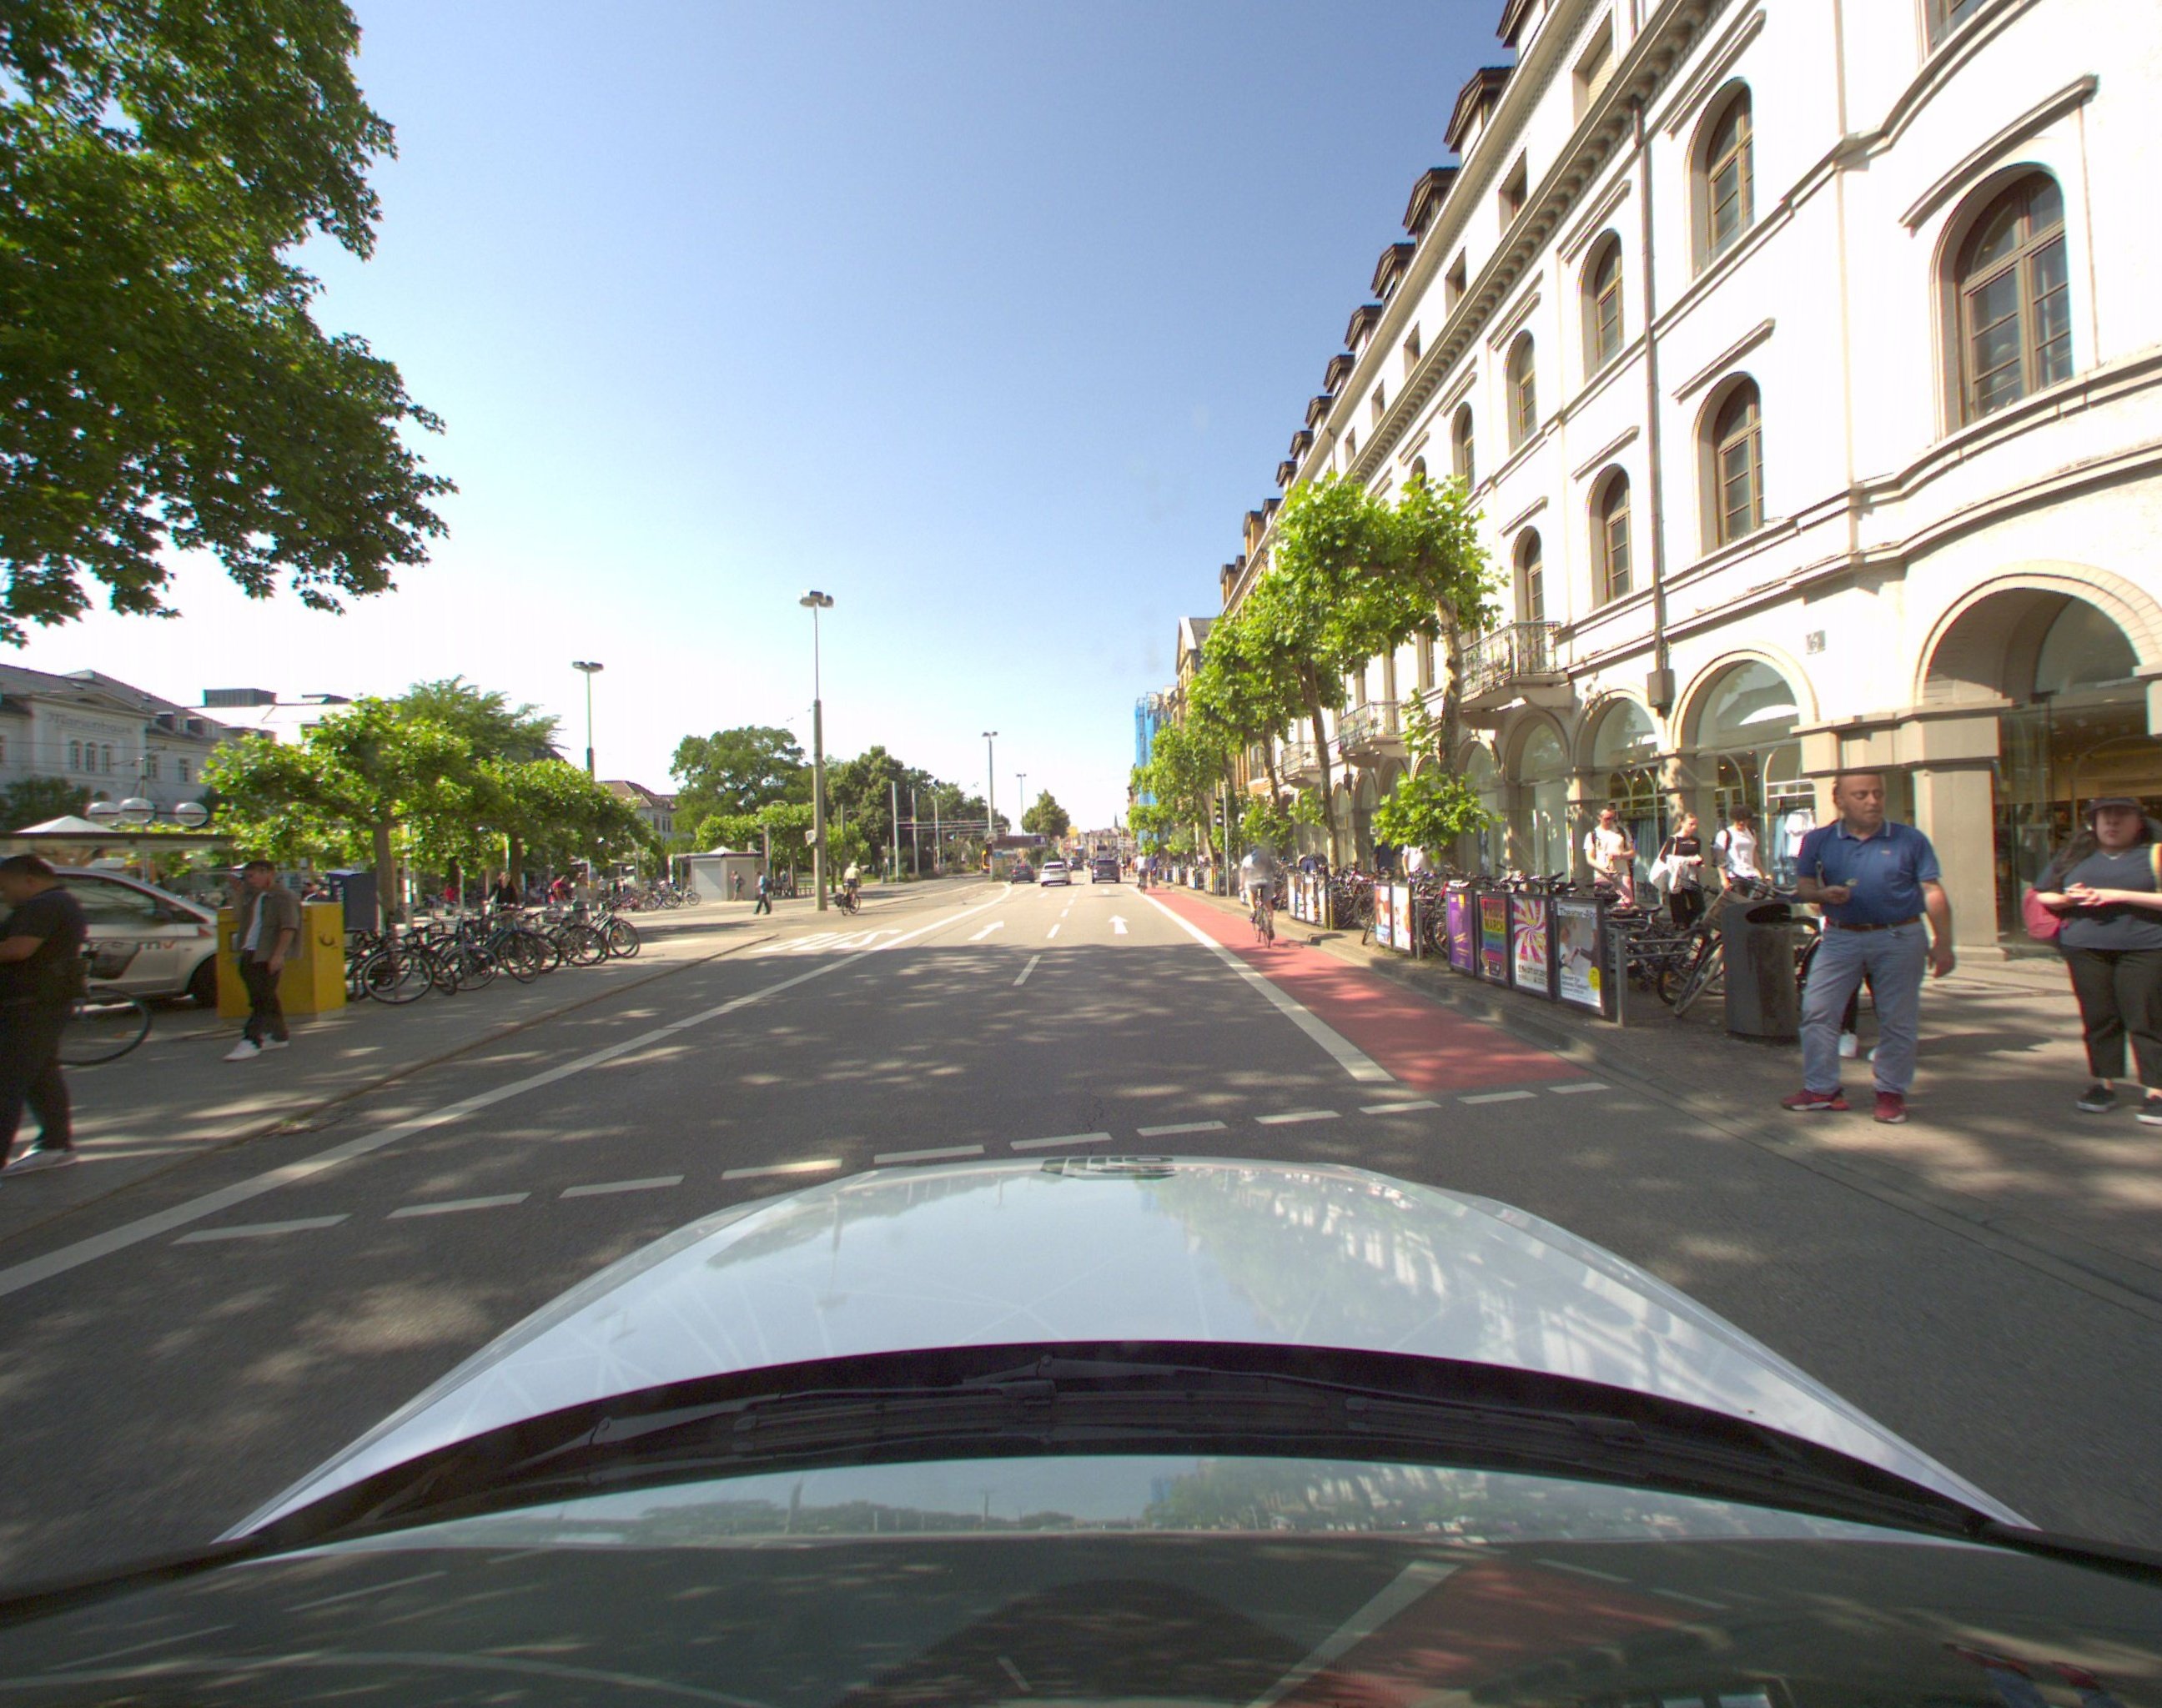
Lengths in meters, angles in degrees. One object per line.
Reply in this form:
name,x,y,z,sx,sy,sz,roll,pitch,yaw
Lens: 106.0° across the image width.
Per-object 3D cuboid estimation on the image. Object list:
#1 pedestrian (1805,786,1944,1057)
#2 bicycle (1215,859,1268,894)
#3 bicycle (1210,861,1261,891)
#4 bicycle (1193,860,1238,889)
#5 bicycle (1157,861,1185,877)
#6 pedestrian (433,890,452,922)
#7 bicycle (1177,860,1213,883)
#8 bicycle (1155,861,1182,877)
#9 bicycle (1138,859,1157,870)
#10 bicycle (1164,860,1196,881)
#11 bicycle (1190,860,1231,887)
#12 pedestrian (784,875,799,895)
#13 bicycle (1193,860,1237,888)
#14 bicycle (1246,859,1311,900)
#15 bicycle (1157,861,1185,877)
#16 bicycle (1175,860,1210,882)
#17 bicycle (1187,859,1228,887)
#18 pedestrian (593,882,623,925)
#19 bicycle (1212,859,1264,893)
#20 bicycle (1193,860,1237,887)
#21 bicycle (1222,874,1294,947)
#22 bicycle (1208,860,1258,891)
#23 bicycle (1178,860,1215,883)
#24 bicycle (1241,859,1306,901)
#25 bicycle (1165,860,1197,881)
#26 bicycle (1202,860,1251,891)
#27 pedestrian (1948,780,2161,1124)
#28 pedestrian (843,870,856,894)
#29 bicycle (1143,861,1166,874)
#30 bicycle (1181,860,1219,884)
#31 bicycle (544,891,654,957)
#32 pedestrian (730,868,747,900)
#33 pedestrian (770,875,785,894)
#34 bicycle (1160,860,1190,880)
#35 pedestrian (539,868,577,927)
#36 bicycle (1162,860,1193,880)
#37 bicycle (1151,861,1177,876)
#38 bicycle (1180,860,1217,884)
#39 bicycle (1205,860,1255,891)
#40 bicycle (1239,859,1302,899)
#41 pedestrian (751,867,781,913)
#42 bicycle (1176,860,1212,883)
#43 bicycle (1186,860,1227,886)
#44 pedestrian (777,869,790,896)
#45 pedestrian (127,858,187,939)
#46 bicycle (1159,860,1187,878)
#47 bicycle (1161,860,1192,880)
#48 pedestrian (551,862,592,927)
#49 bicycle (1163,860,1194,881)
pedestrian,5.342,0.423,5.485,0.581,1.684,0.615,1,-1,-41
bicycle,5.653,0.788,28.704,1.748,1.147,0.482,-2,-1,-2
bicycle,5.638,0.796,29.730,1.748,1.068,0.482,-2,-1,-2
bicycle,5.442,0.822,33.001,1.748,1.147,0.482,-2,-1,-2
bicycle,5.902,0.978,53.613,1.748,1.018,0.482,-2,-1,-2
pedestrian,-30.217,2.460,38.561,0.684,1.465,0.618,-1,-1,-38
bicycle,5.866,0.883,41.821,1.748,1.147,0.482,-2,-1,-2
bicycle,5.900,0.992,55.033,1.748,1.018,0.482,-2,-1,-2
bicycle,6.476,1.012,79.445,1.748,1.018,0.482,-2,-1,-2
bicycle,5.678,0.933,46.824,1.748,1.147,0.482,-2,-1,-2
bicycle,5.749,0.844,36.157,1.748,1.147,0.482,-2,-1,-2
pedestrian,-19.056,2.033,53.656,0.674,1.246,0.751,-4,0,-6
bicycle,5.657,0.833,34.497,1.748,1.147,0.482,-2,-1,-2
bicycle,5.738,0.739,23.713,1.748,1.147,0.482,-2,-1,-2
bicycle,5.868,0.975,53.020,1.748,1.018,0.482,-2,-1,-2
bicycle,5.869,0.890,42.832,1.748,1.147,0.482,-2,-1,-2
bicycle,5.728,0.851,36.782,1.748,1.187,0.482,-2,-1,-2
pedestrian,-14.166,1.486,24.375,0.571,1.234,0.557,-2,-1,34
bicycle,5.630,0.792,29.218,1.748,1.147,0.482,-2,-1,-2
bicycle,5.763,0.834,35.056,1.748,1.147,0.527,-2,-1,-2
bicycle,2.936,0.909,13.732,0.732,1.093,2.130,0,-1,-1
bicycle,5.641,0.802,30.289,1.748,1.087,0.482,-2,-1,-2
bicycle,5.856,0.879,41.316,1.748,1.147,0.482,-2,-1,-2
bicycle,5.732,0.764,24.266,1.794,1.194,0.482,-2,-1,-2
bicycle,5.677,0.928,46.292,1.748,1.147,0.482,-2,-1,-2
bicycle,5.594,0.809,31.308,1.748,1.147,0.482,-2,-1,-2
pedestrian,5.392,0.481,4.397,0.575,1.684,0.774,0,-1,-3
pedestrian,-16.352,1.956,57.492,0.521,1.609,0.628,-4,0,10
bicycle,5.883,1.081,65.454,1.748,1.018,0.482,-2,-1,-2
bicycle,5.868,0.870,40.201,1.748,1.147,0.499,-2,-1,-2
bicycle,-9.142,1.319,15.482,1.748,1.147,0.482,-2,-1,-2
pedestrian,-19.299,1.712,45.925,0.753,1.728,0.832,-4,0,-23
pedestrian,-20.148,2.006,54.076,0.674,1.171,0.751,-4,0,-6
bicycle,5.639,0.948,48.807,1.748,1.147,0.482,-2,-1,-2
pedestrian,-16.221,1.342,25.266,0.617,1.745,0.685,-4,0,34
bicycle,5.665,0.940,47.813,1.748,1.147,0.482,-2,-1,-2
bicycle,5.863,1.013,57.470,1.748,1.018,0.482,-2,-1,-2
bicycle,5.864,0.874,40.773,1.748,1.147,0.482,-2,-1,-2
bicycle,5.628,0.796,30.791,1.748,1.105,0.482,-2,-1,-2
bicycle,5.772,0.757,24.825,1.769,1.147,0.482,-2,-1,-2
pedestrian,-11.848,1.342,30.644,0.892,1.658,0.678,-2,-1,-9
bicycle,5.859,0.887,42.327,1.748,1.147,0.482,-2,-1,-2
bicycle,5.752,0.854,37.334,1.748,1.123,0.482,-2,-1,-2
pedestrian,-18.407,1.739,50.382,0.577,1.609,0.598,-4,0,-28
pedestrian,-21.560,1.020,19.015,0.574,1.815,0.605,-4,0,0
bicycle,5.914,0.966,52.321,1.748,1.147,0.482,-2,-1,-2
bicycle,5.648,0.944,48.312,1.748,1.147,0.482,-2,-1,-2
pedestrian,-16.550,1.300,26.440,0.900,2.007,0.672,-4,0,-43
bicycle,5.668,0.954,47.313,1.748,1.147,0.482,-2,-1,-2
